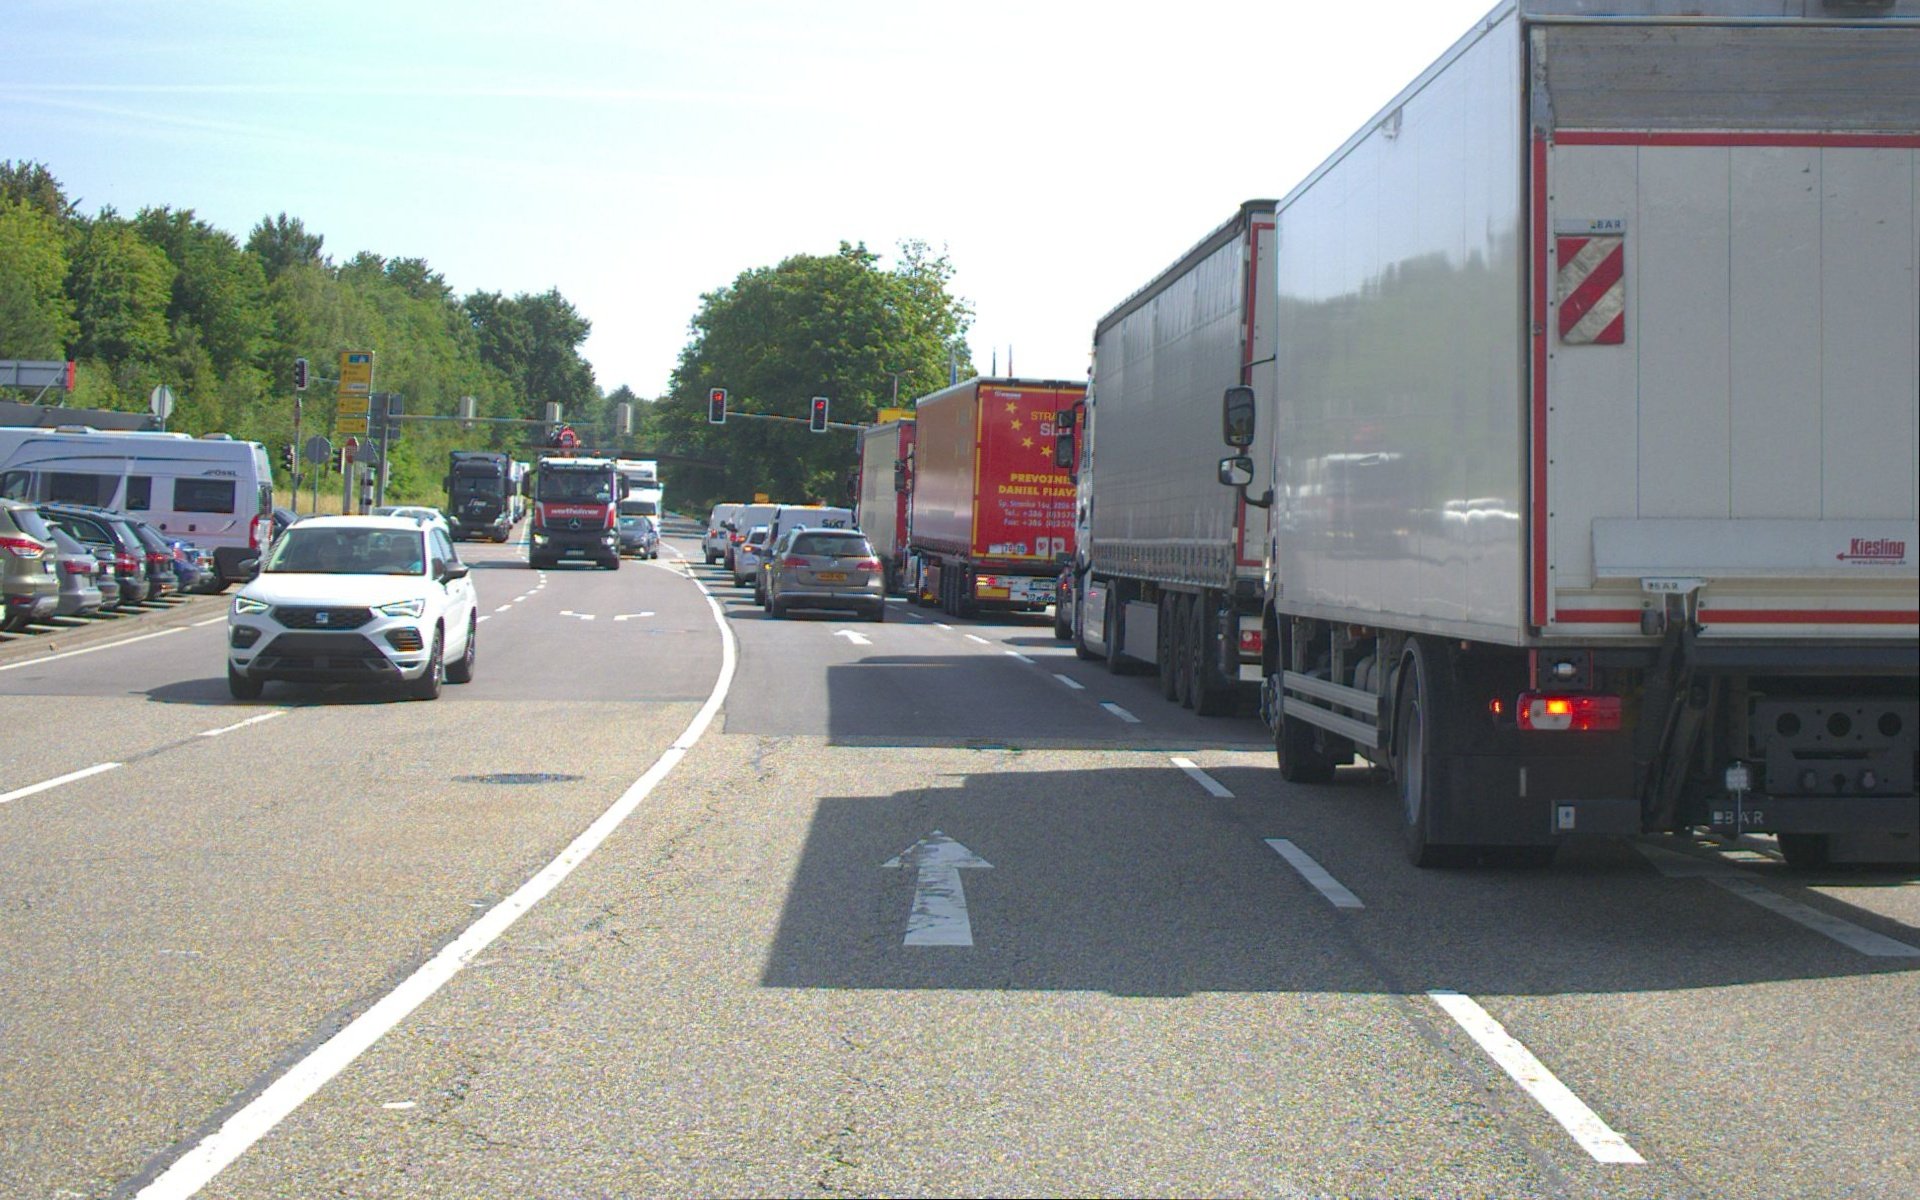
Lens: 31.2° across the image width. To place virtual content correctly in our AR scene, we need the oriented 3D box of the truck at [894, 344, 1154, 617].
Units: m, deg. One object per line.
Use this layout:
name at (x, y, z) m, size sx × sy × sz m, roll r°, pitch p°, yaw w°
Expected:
truck at (0.872, -2.141, 63.527) m, size 2.956 × 4.255 × 16.588 m, roll 3°, pitch 1°, yaw -5°

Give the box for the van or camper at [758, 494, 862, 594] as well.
van or camper at (-3.069, -1.153, 69.612) m, size 1.852 × 1.899 × 3.785 m, roll 3°, pitch 1°, yaw -5°

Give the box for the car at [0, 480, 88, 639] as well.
car at (-12.275, -0.632, 39.741) m, size 3.885 × 1.710 × 1.807 m, roll 6°, pitch 1°, yaw -6°

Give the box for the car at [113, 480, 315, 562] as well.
car at (-15.245, -1.621, 70.418) m, size 3.816 × 1.534 × 1.843 m, roll 2°, pitch 1°, yaw -5°

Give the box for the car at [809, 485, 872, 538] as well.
car at (-3.780, -2.776, 108.460) m, size 1.726 × 1.514 × 3.313 m, roll 3°, pitch 0°, yaw -5°

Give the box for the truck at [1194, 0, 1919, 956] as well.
truck at (3.253, -0.698, 18.385) m, size 2.879 × 3.798 × 11.143 m, roll 2°, pitch 1°, yaw -1°

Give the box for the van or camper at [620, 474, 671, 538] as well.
van or camper at (-14.795, -4.425, 162.025) m, size 2.223 × 2.831 × 5.712 m, roll 3°, pitch 1°, yaw -5°

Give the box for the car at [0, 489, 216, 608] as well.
car at (-13.407, -0.815, 52.572) m, size 3.707 × 1.550 × 1.708 m, roll 4°, pitch 2°, yaw -6°

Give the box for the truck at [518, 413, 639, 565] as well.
truck at (-11.073, -3.222, 100.740) m, size 2.956 × 4.194 × 10.648 m, roll 0°, pitch 2°, yaw -3°

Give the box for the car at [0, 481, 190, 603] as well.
car at (-13.309, -0.912, 49.907) m, size 3.843 × 1.479 × 1.802 m, roll 6°, pitch 1°, yaw -6°

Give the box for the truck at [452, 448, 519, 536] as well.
truck at (-20.953, -4.757, 151.600) m, size 2.812 × 3.773 × 6.992 m, roll 1°, pitch 2°, yaw -9°

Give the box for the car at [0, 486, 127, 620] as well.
car at (-12.635, -0.734, 42.388) m, size 4.276 × 1.479 × 1.837 m, roll 6°, pitch 1°, yaw -6°

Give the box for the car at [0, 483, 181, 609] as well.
car at (-13.257, -0.861, 47.765) m, size 4.458 × 1.479 × 1.772 m, roll 6°, pitch 1°, yaw -6°

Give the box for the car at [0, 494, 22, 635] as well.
car at (-12.245, -0.433, 37.318) m, size 3.707 × 1.520 × 1.793 m, roll 1°, pitch 1°, yaw -6°

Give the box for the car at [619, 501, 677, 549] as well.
car at (-10.562, -2.555, 116.585) m, size 1.806 × 1.554 × 4.388 m, roll 1°, pitch 1°, yaw -4°

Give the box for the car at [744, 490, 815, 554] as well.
car at (-4.589, -1.971, 87.731) m, size 1.726 × 1.514 × 3.312 m, roll 3°, pitch 1°, yaw -2°

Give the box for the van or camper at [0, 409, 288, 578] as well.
van or camper at (-14.650, -1.870, 60.375) m, size 5.244 × 2.722 × 2.211 m, roll 2°, pitch 1°, yaw -3°

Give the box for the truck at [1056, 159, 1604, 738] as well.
truck at (3.024, -1.324, 34.250) m, size 2.890 × 4.251 × 16.712 m, roll 2°, pitch 1°, yaw -2°

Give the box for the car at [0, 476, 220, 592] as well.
car at (-13.836, -1.078, 54.819) m, size 3.707 × 1.479 × 1.708 m, roll 6°, pitch 1°, yaw -6°

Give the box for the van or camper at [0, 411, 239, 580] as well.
van or camper at (-16.343, -1.948, 62.708) m, size 5.891 × 2.863 × 2.290 m, roll 2°, pitch 2°, yaw -4°

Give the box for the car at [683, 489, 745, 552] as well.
car at (-7.857, -2.541, 110.023) m, size 1.727 × 1.902 × 3.312 m, roll 3°, pitch 1°, yaw -2°

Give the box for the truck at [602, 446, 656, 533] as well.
truck at (-16.903, -5.632, 175.752) m, size 2.552 × 4.292 × 7.597 m, roll 1°, pitch 1°, yaw -5°

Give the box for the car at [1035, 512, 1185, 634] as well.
car at (2.166, -0.428, 50.632) m, size 1.819 × 1.679 × 4.001 m, roll 2°, pitch 1°, yaw -2°

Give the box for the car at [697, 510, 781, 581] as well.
car at (-5.087, -1.249, 78.959) m, size 1.726 × 1.514 × 3.313 m, roll 3°, pitch 1°, yaw -6°

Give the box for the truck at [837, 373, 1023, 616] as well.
truck at (-0.953, -2.558, 84.049) m, size 3.062 × 5.202 × 17.011 m, roll 3°, pitch 1°, yaw -5°

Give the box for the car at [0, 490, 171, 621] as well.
car at (-12.707, -0.704, 45.052) m, size 4.297 × 1.479 × 1.799 m, roll 6°, pitch 1°, yaw -6°

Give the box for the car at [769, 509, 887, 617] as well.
car at (-2.090, -0.607, 55.088) m, size 1.790 × 1.633 × 3.504 m, roll 2°, pitch 1°, yaw -1°

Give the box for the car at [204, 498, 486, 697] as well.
car at (-5.498, -0.061, 31.175) m, size 1.935 × 1.668 × 4.000 m, roll 1°, pitch 1°, yaw -2°
